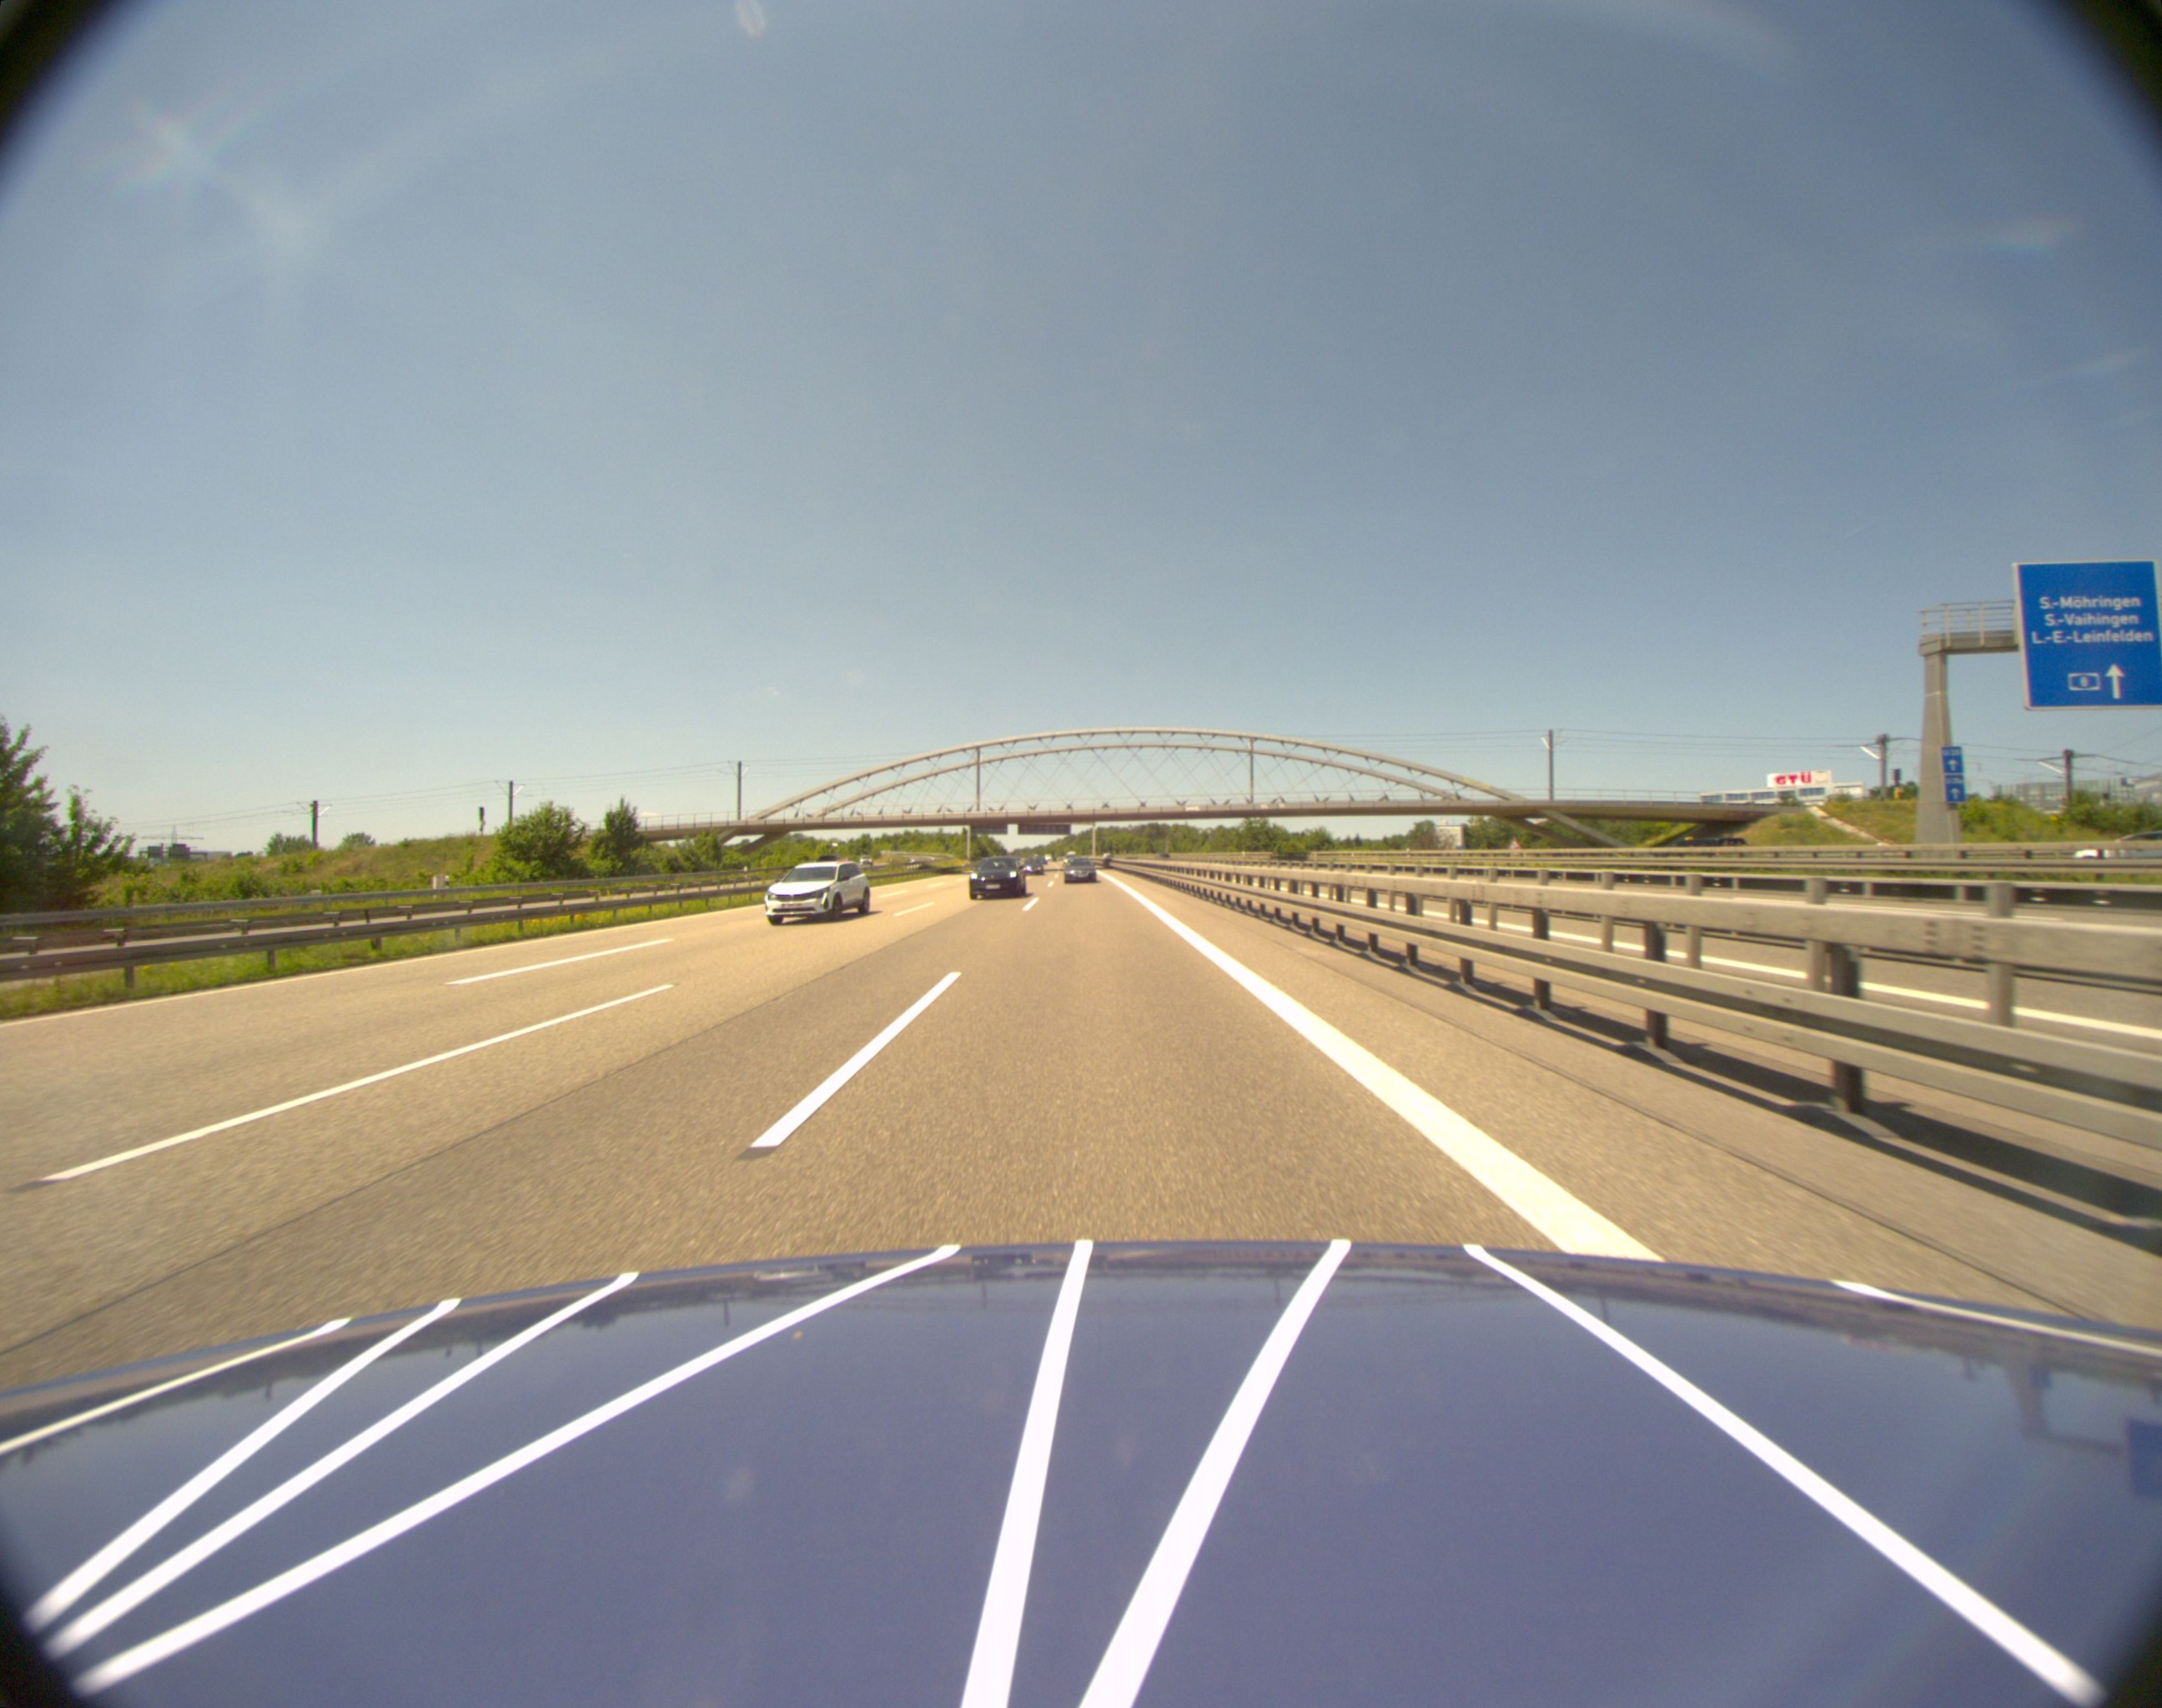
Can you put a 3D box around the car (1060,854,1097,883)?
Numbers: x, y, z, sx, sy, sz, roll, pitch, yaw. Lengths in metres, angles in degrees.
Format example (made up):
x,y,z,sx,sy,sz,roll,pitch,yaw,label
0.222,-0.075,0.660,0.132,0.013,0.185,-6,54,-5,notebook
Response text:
x,y,z,sx,sy,sz,roll,pitch,yaw,label
-0.101,0.784,43.382,1.931,1.499,4.391,-2,1,2,car

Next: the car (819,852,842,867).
x,y,z,sx,sy,sz,roll,pitch,yaw,label
-28.417,0.595,86.180,1.705,1.566,4.125,-2,1,-8,car

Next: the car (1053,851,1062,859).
x,y,z,sx,sy,sz,roll,pitch,yaw,label
-5.826,0.186,189.029,1.998,1.849,4.000,-2,1,2,car

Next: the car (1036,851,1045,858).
x,y,z,sx,sy,sz,roll,pitch,yaw,label
-11.332,0.185,212.170,1.998,2.002,4.000,-2,1,2,car

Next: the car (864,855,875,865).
x,y,z,sx,sy,sz,roll,pitch,yaw,label
-33.628,0.908,120.798,1.706,1.566,4.122,-2,1,-15,car

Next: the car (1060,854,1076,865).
x,y,z,sx,sy,sz,roll,pitch,yaw,label
-1.786,0.706,103.187,1.932,1.390,4.116,-2,1,-3,car

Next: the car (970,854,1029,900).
x,y,z,sx,sy,sz,roll,pitch,yaw,label
-3.144,0.866,30.164,1.932,1.586,4.131,-2,1,-2,car

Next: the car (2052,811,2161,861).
x,y,z,sx,sy,sz,roll,pitch,yaw,label
36.419,-0.629,25.606,1.873,1.608,4.389,-2,1,3,car

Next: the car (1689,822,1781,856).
x,y,z,sx,sy,sz,roll,pitch,yaw,label
37.049,-0.834,43.181,1.873,1.734,4.000,-2,1,3,car

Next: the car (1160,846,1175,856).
x,y,z,sx,sy,sz,roll,pitch,yaw,label
12.657,-0.443,111.143,1.662,1.455,4.444,-3,1,1,car

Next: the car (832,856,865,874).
x,y,z,sx,sy,sz,roll,pitch,yaw,label
-22.177,1.036,72.555,1.932,1.586,4.130,-2,1,-2,car

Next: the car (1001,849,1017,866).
x,y,z,sx,sy,sz,roll,pitch,yaw,label
-8.844,0.427,93.070,1.809,1.908,4.292,-2,1,-6,car

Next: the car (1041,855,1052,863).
x,y,z,sx,sy,sz,roll,pitch,yaw,label
-6.299,0.936,139.551,1.932,1.390,4.116,-2,1,-2,car

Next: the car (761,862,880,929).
x,y,z,sx,sy,sz,roll,pitch,yaw,label
-7.344,1.090,21.960,1.748,1.582,4.619,-2,1,0,car

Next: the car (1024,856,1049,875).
x,y,z,sx,sy,sz,roll,pitch,yaw,label
-3.759,0.953,64.992,1.931,1.390,4.117,-2,1,0,car
